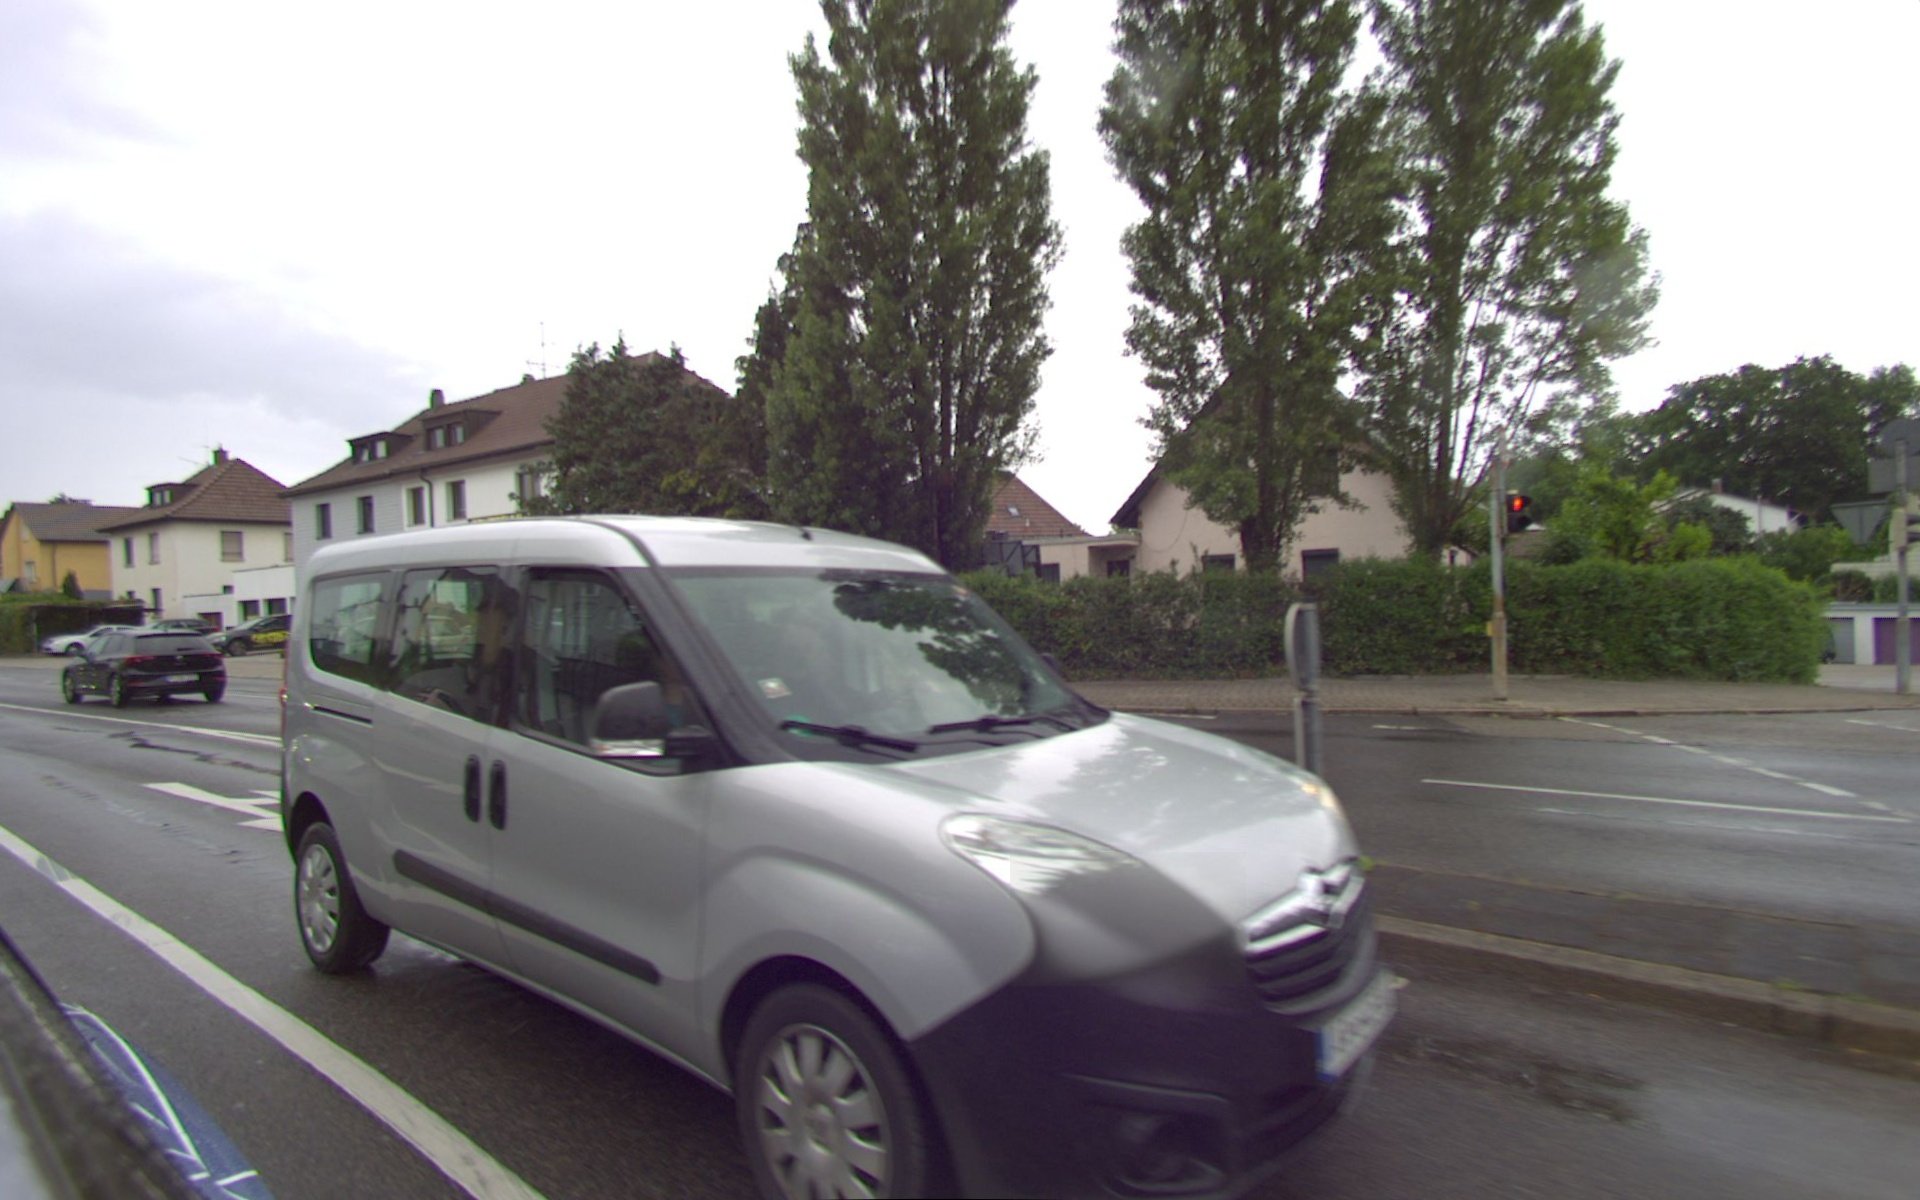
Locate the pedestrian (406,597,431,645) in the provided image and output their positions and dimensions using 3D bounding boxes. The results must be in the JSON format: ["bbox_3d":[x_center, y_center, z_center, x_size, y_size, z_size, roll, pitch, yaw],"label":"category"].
[{"bbox_3d":[-19.431,0.740,36.304,0.664,1.682,0.693,-4,2,-26],"label":"pedestrian"}]

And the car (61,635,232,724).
[{"bbox_3d":[-15.954,1.479,19.792,3.993,1.514,1.696,-2,-1,37],"label":"car"}]

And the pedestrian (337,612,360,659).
[{"bbox_3d":[-23.716,1.363,39.247,0.688,1.766,0.442,-2,2,35],"label":"pedestrian"}]

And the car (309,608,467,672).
[{"bbox_3d":[-18.494,1.261,32.850,1.868,1.576,3.954,-3,3,35],"label":"car"}]

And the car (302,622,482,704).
[{"bbox_3d":[-12.299,1.298,21.825,4.133,1.580,1.789,-1,-1,35],"label":"car"}]

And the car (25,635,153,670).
[{"bbox_3d":[-40.406,2.495,47.054,1.831,1.495,4.073,-3,-5,27],"label":"car"}]

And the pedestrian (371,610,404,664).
[{"bbox_3d":[-20.568,1.314,36.377,0.686,1.880,0.725,-2,3,40],"label":"pedestrian"}]

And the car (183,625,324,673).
[{"bbox_3d":[-26.832,1.823,38.533,1.879,1.430,3.954,-2,2,34],"label":"car"}]

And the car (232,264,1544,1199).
[{"bbox_3d":[-0.735,0.519,3.718,4.740,1.885,1.932,-2,-2,38],"label":"car"}]

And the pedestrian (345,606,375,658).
[{"bbox_3d":[-21.514,1.152,36.284,0.539,1.802,0.662,-2,2,38],"label":"pedestrian"}]

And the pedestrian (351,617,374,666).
[{"bbox_3d":[-22.611,1.561,38.313,0.643,1.800,0.649,-4,0,-32],"label":"pedestrian"}]

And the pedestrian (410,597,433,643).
[{"bbox_3d":[-19.894,0.741,37.380,0.512,1.682,0.511,-2,2,40],"label":"pedestrian"}]

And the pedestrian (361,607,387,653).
[{"bbox_3d":[-22.771,1.166,39.346,0.560,1.720,0.582,-2,2,33],"label":"pedestrian"}]

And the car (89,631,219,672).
[{"bbox_3d":[-35.099,2.216,44.167,1.879,1.430,4.065,-2,1,34],"label":"car"}]

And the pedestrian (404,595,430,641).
[{"bbox_3d":[-20.511,0.670,38.231,0.549,1.682,0.569,-2,2,33],"label":"pedestrian"}]

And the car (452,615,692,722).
[{"bbox_3d":[-7.054,1.152,18.204,4.587,1.682,1.789,-1,-1,35],"label":"car"}]

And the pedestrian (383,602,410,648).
[{"bbox_3d":[-21.345,0.939,38.353,0.574,1.682,0.578,-2,2,33],"label":"pedestrian"}]
